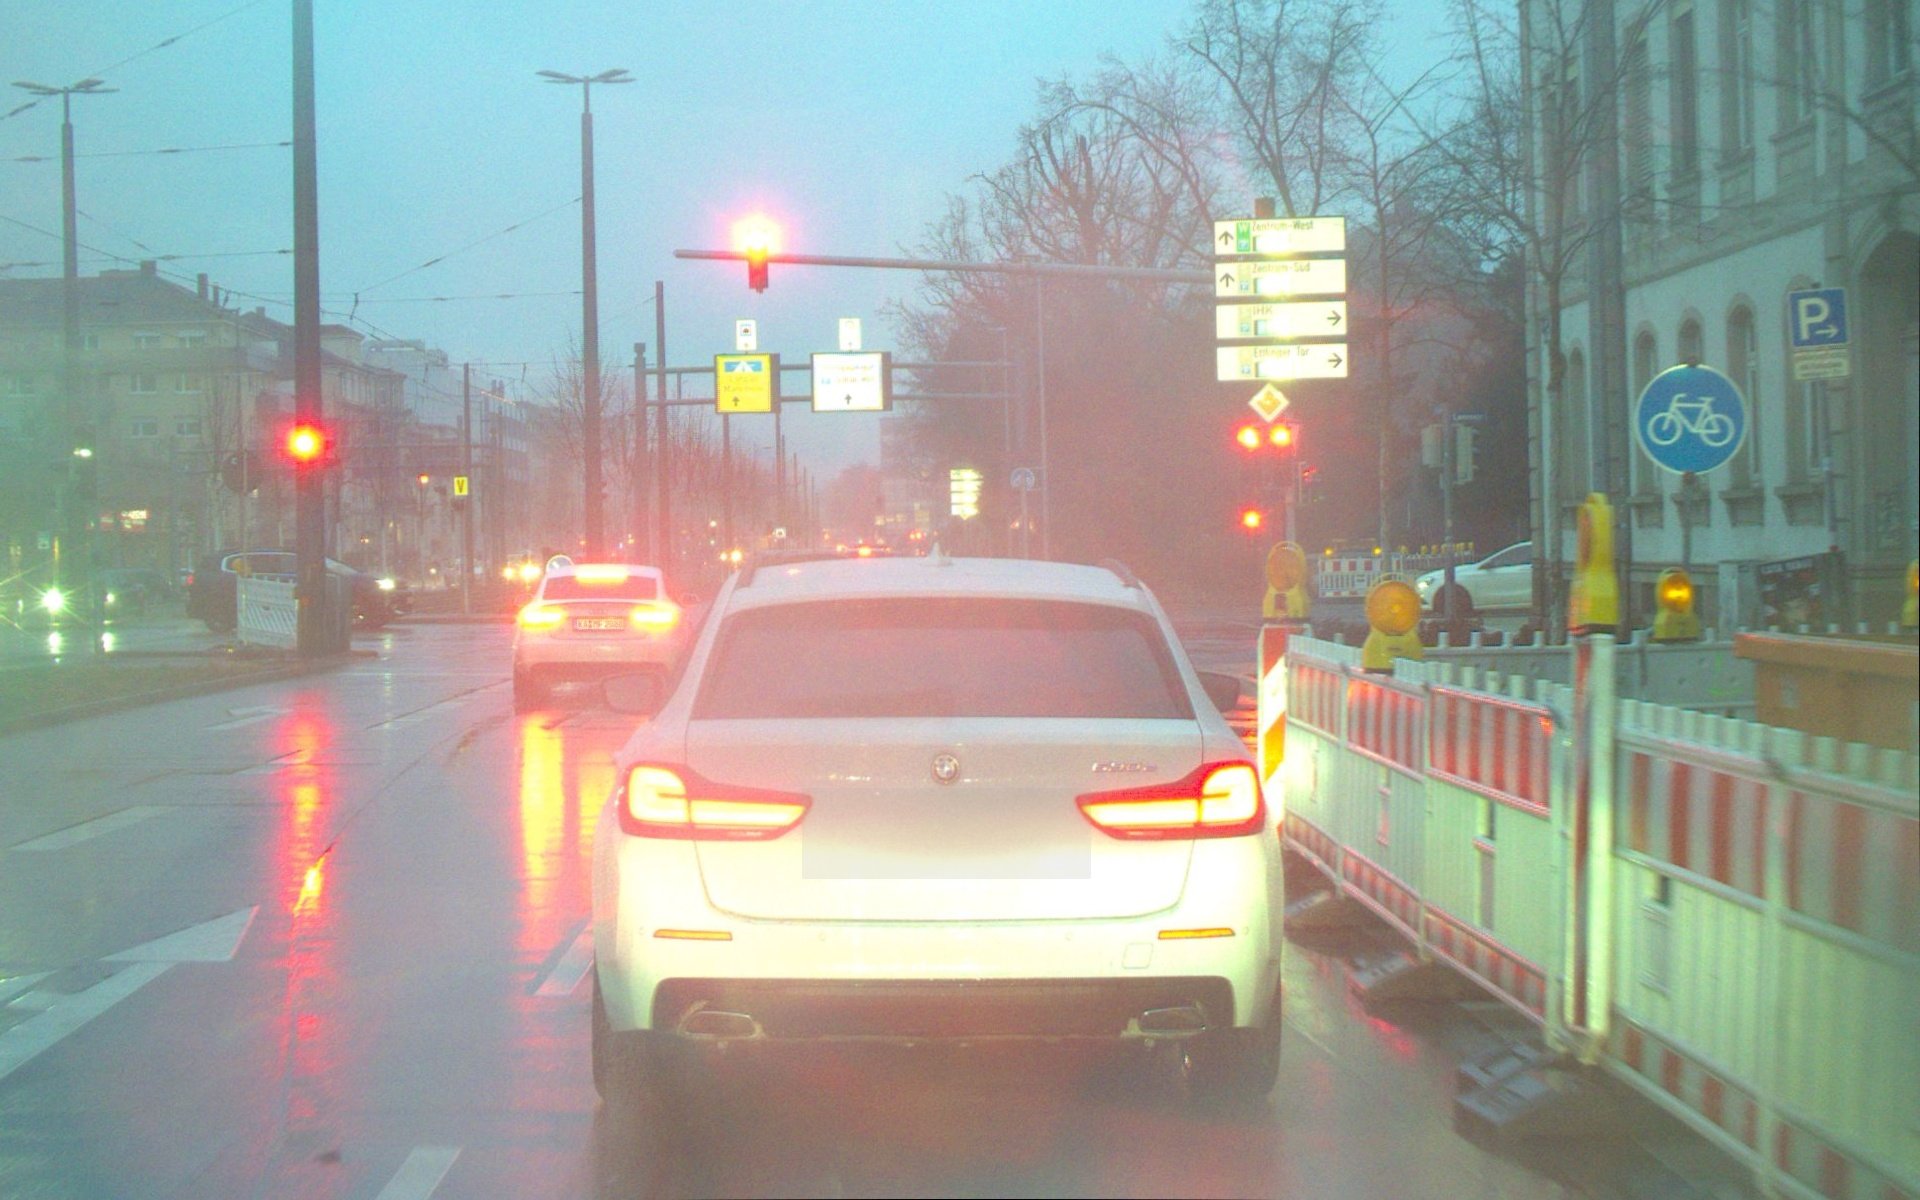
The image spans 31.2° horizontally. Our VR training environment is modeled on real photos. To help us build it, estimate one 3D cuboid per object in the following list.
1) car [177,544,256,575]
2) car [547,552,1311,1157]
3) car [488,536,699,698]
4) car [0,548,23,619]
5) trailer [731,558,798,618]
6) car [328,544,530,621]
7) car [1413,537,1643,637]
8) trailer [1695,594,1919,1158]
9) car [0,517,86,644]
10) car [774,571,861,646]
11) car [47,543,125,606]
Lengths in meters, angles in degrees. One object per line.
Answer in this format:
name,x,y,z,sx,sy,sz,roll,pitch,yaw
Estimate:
car,-41.806,-2.295,193.424,4.212,1.739,1.840,0,1,-7
car,-0.148,0.589,10.844,1.852,1.460,4.947,0,1,-2
car,-3.868,0.144,36.865,1.901,1.636,4.000,0,1,-1
car,-23.156,-0.393,80.136,1.857,1.634,4.033,0,1,-5
trailer,-5.506,-0.355,96.550,1.834,1.637,4.001,0,1,-3
car,-10.761,-0.359,69.547,3.941,1.502,1.853,0,1,-11
car,10.625,-0.261,64.241,3.990,1.791,1.849,1,1,18
trailer,3.269,0.682,9.034,1.851,1.341,3.529,-1,1,-1
car,-15.817,-0.319,53.809,3.986,1.968,2.001,0,1,-19
car,-3.254,0.179,79.171,1.901,1.636,4.000,0,1,-1
car,-23.362,-0.687,91.998,1.559,1.653,3.396,0,1,-6
